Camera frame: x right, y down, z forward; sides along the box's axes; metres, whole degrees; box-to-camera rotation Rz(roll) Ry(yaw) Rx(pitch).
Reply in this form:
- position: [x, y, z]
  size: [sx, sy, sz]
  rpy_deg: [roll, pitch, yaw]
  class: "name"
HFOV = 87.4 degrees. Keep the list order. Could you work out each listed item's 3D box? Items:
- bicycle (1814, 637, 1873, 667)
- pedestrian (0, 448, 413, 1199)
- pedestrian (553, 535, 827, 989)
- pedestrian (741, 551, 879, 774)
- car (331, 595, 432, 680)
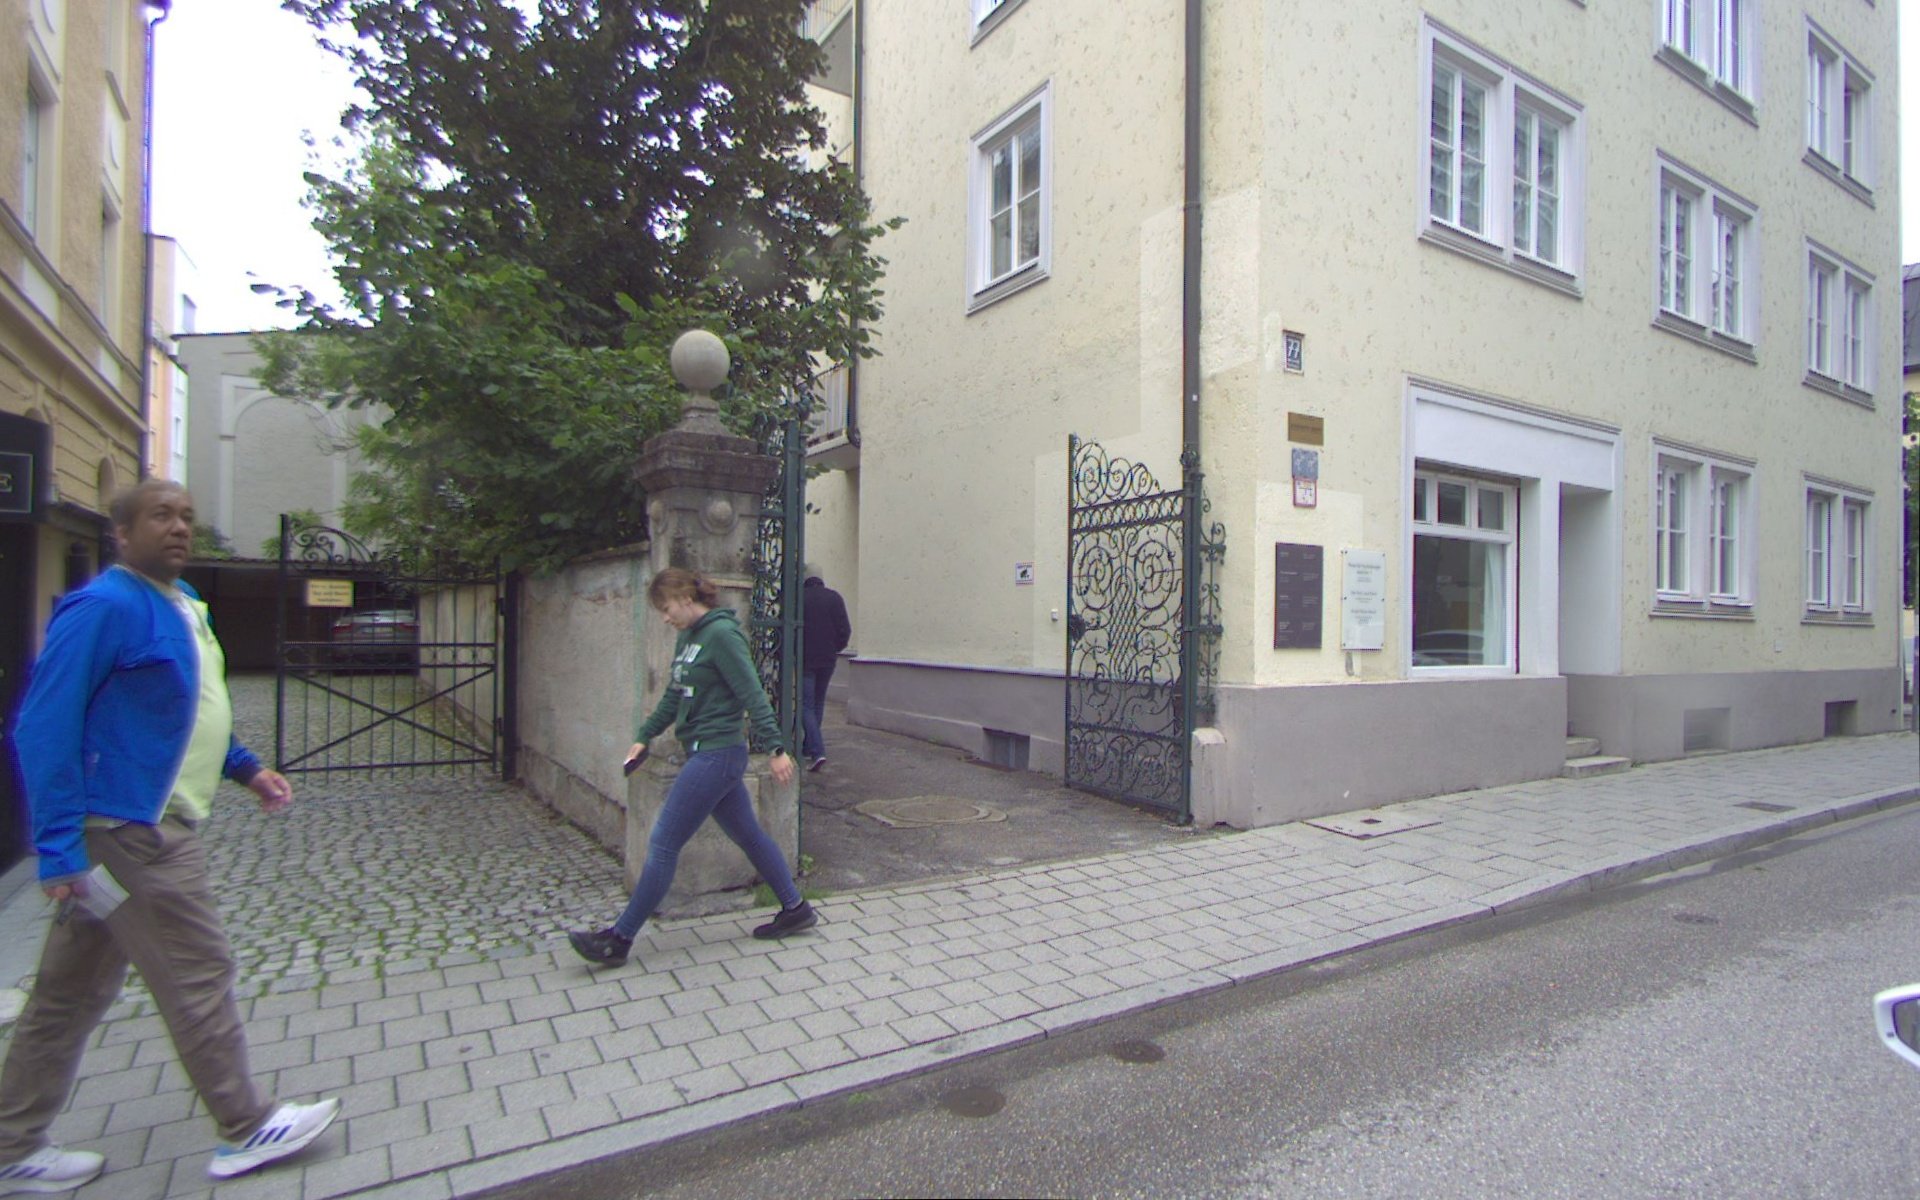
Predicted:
- position: [34.776, 2.044, 39.558]
  size: [0.590, 1.083, 1.649]
  rpy_deg: [1, 0, -28]
  class: "bicycle"
- position: [-2.148, 0.600, 2.750]
  size: [1.065, 1.879, 0.752]
  rpy_deg: [1, 0, -32]
  class: "pedestrian"
- position: [-1.160, 0.604, 4.276]
  size: [0.919, 1.688, 0.708]
  rpy_deg: [1, 1, -33]
  class: "pedestrian"
- position: [-1.350, 0.532, 8.973]
  size: [0.899, 1.851, 0.947]
  rpy_deg: [1, -1, -33]
  class: "pedestrian"
- position: [-12.270, 0.740, 21.479]
  size: [1.613, 1.561, 3.706]
  rpy_deg: [2, 1, -26]
  class: "car"
